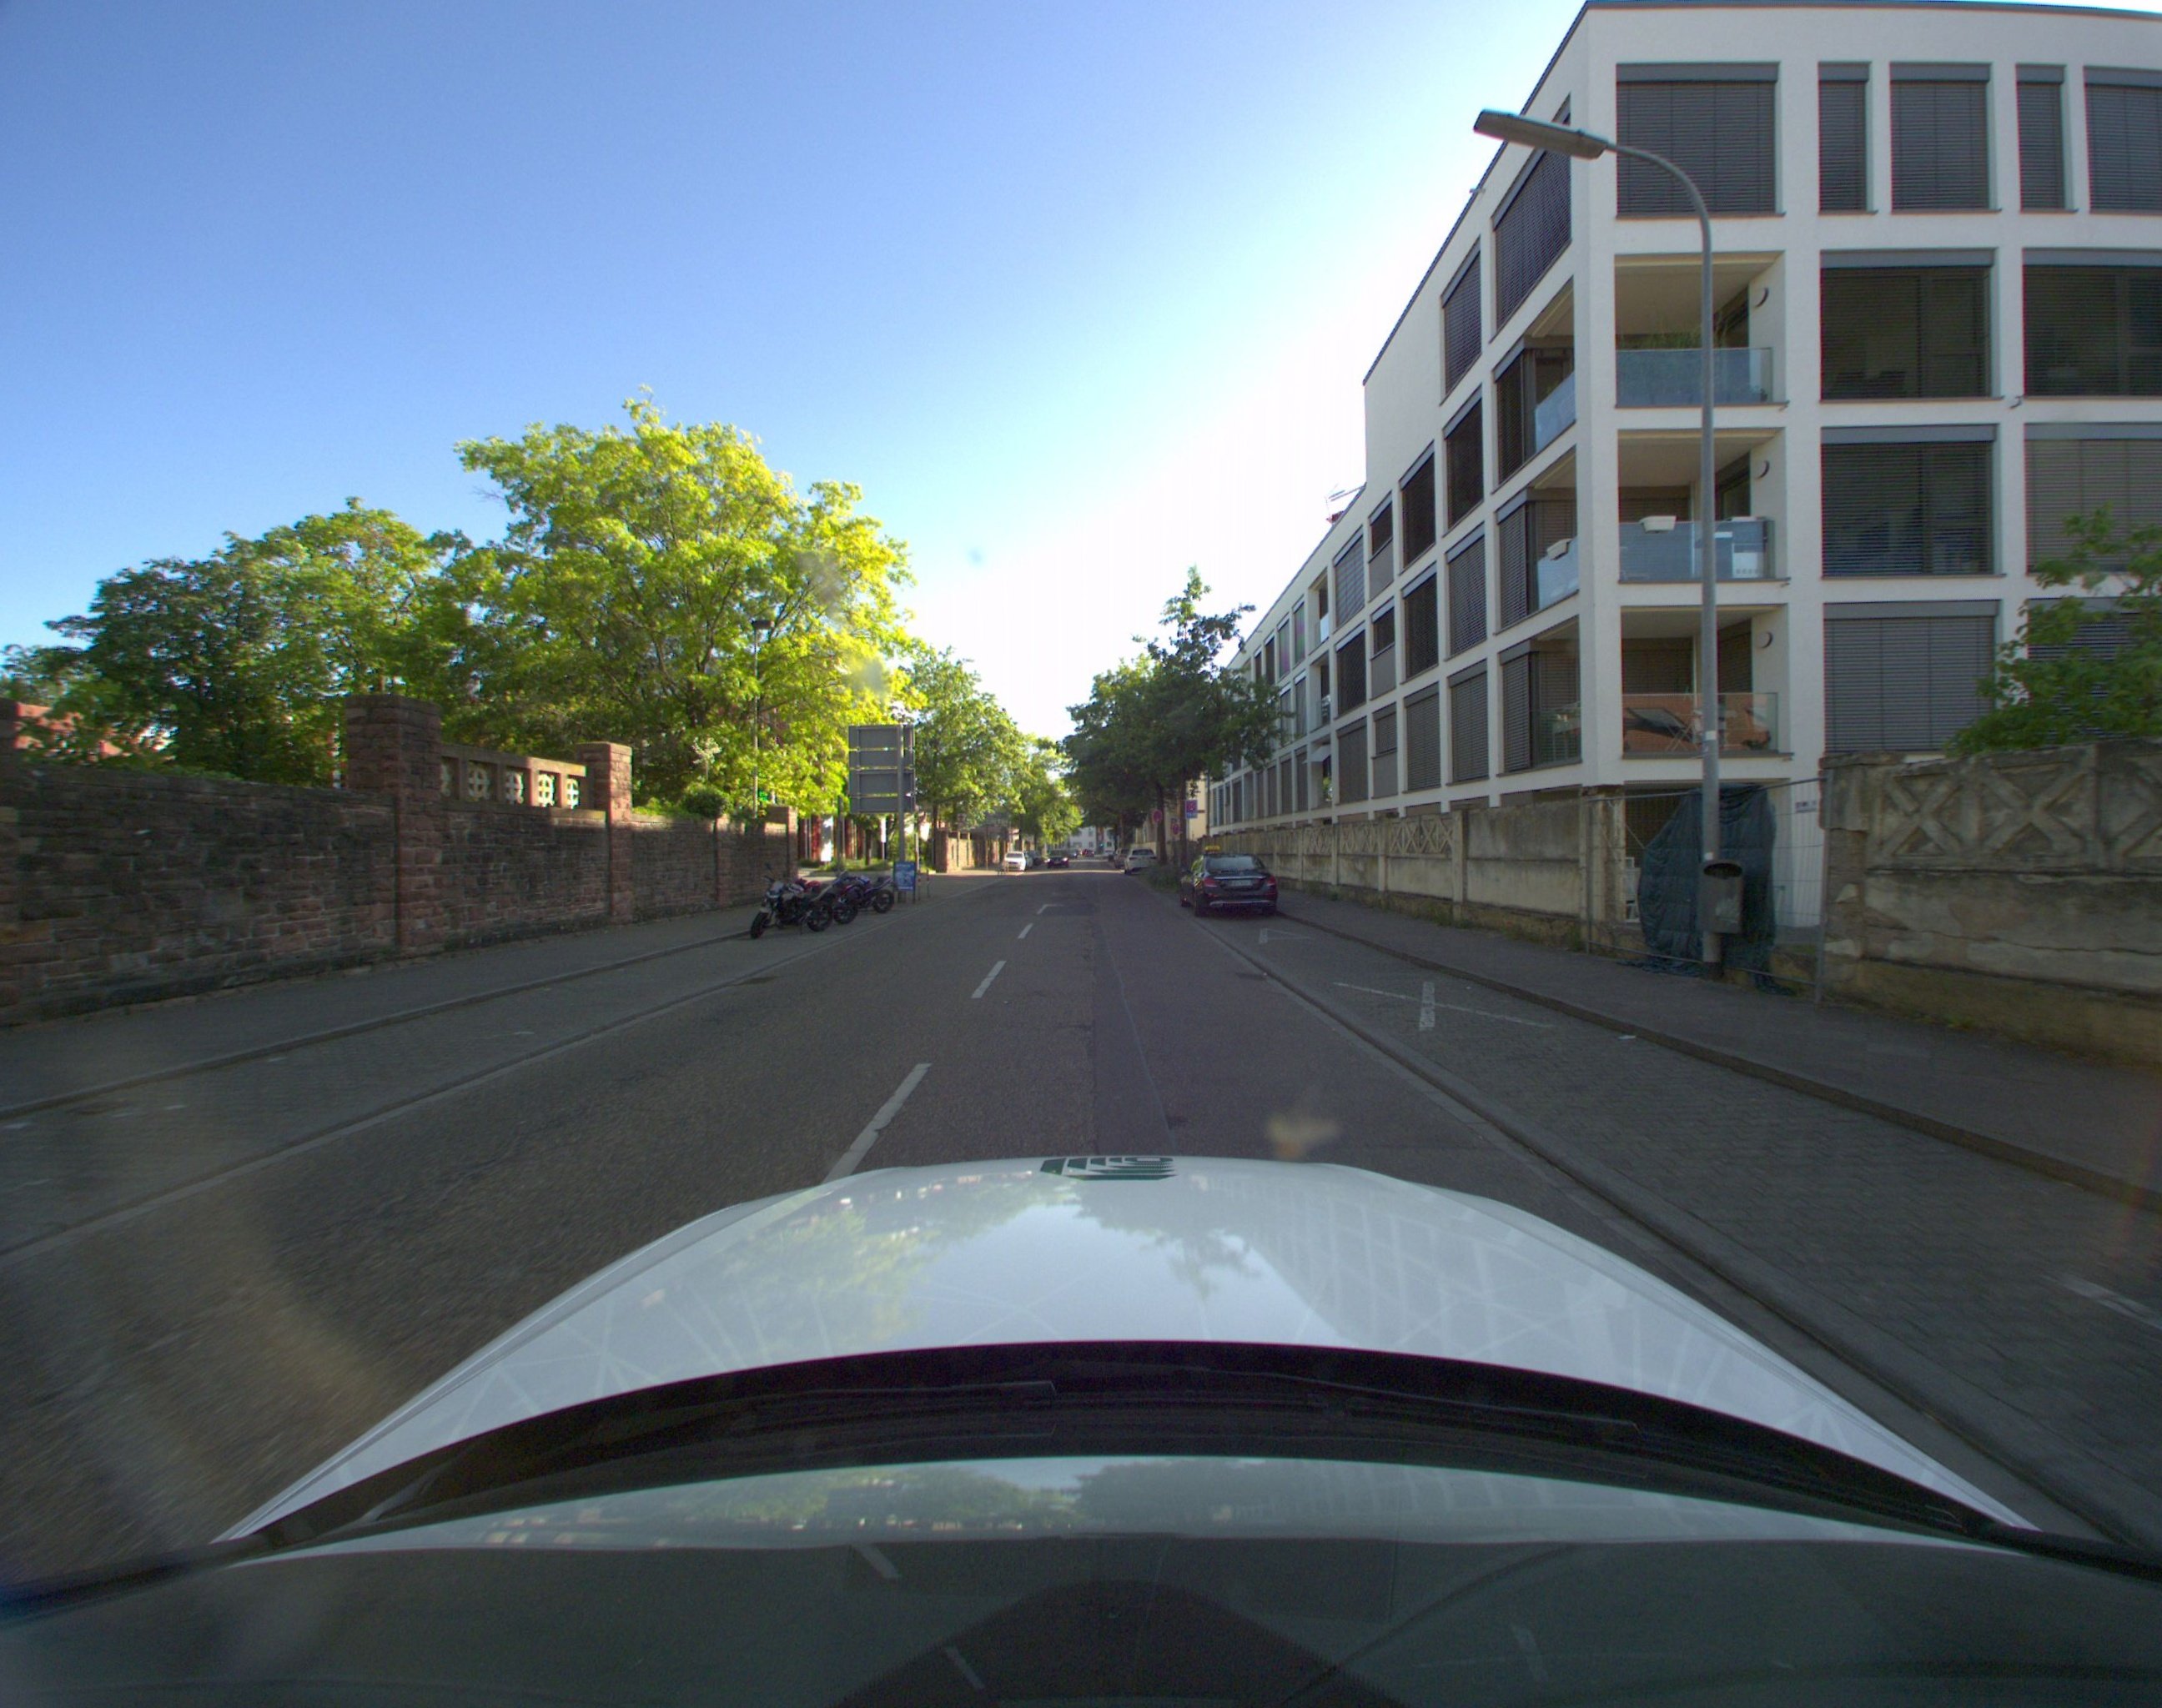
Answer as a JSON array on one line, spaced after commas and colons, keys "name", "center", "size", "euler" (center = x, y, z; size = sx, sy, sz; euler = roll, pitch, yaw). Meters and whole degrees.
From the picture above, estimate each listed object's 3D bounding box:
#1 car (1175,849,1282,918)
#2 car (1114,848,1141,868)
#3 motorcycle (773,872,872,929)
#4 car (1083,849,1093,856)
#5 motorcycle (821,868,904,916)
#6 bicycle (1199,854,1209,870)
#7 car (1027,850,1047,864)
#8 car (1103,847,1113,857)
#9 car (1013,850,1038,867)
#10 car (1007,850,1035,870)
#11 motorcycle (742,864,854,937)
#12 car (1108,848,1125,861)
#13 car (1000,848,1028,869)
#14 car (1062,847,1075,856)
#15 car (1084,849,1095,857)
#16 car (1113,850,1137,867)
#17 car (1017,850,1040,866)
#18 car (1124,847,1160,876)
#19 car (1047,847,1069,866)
[{"name": "car", "center": [3.402, 0.625, 19.497], "size": [1.762, 1.440, 3.999], "euler": [-1, 0, -1]}, {"name": "car", "center": [3.613, 0.275, 64.255], "size": [1.986, 1.465, 3.837], "euler": [-1, 0, 1]}, {"name": "motorcycle", "center": [-5.501, 0.965, 17.471], "size": [0.570, 1.074, 2.135], "euler": [-1, 1, 34]}, {"name": "car", "center": [1.408, -0.324, 174.809], "size": [1.989, 1.453, 3.997], "euler": [-1, 1, -2]}, {"name": "motorcycle", "center": [-5.407, 0.915, 20.298], "size": [0.570, 1.074, 2.135], "euler": [-1, 1, 34]}, {"name": "bicycle", "center": [6.418, 0.416, 42.657], "size": [0.354, 0.842, 1.325], "euler": [-1, 0, 1]}, {"name": "car", "center": [-4.926, 0.280, 91.581], "size": [1.900, 1.530, 4.000], "euler": [-1, 0, 0]}, {"name": "car", "center": [4.252, -0.329, 129.312], "size": [1.580, 1.400, 3.837], "euler": [-1, 0, 1]}, {"name": "car", "center": [-5.054, 0.395, 74.375], "size": [1.900, 1.530, 4.000], "euler": [-1, 0, 0]}, {"name": "car", "center": [-4.878, 0.459, 66.344], "size": [1.900, 1.530, 4.000], "euler": [-1, 0, 0]}, {"name": "motorcycle", "center": [-5.496, 0.856, 15.932], "size": [0.570, 1.275, 2.135], "euler": [-1, 1, 34]}, {"name": "car", "center": [4.129, 0.007, 94.964], "size": [1.986, 1.425, 3.837], "euler": [-1, 0, 1]}, {"name": "car", "center": [-4.924, 0.327, 60.336], "size": [1.762, 1.487, 3.999], "euler": [-1, 0, -1]}, {"name": "car", "center": [-1.986, -0.452, 131.550], "size": [1.986, 1.453, 4.002], "euler": [-1, 1, 2]}, {"name": "car", "center": [1.541, -0.144, 151.024], "size": [1.882, 1.400, 3.837], "euler": [-1, 0, 1]}, {"name": "car", "center": [3.934, 0.390, 73.629], "size": [1.986, 1.425, 3.837], "euler": [-1, 0, 1]}, {"name": "car", "center": [-5.041, 0.362, 78.517], "size": [1.900, 1.530, 4.000], "euler": [-1, 0, 0]}, {"name": "car", "center": [3.571, 0.413, 48.341], "size": [1.943, 1.578, 3.837], "euler": [-1, 0, 1]}, {"name": "car", "center": [-1.924, 0.166, 69.366], "size": [1.648, 1.530, 4.000], "euler": [-1, 0, 0]}]
